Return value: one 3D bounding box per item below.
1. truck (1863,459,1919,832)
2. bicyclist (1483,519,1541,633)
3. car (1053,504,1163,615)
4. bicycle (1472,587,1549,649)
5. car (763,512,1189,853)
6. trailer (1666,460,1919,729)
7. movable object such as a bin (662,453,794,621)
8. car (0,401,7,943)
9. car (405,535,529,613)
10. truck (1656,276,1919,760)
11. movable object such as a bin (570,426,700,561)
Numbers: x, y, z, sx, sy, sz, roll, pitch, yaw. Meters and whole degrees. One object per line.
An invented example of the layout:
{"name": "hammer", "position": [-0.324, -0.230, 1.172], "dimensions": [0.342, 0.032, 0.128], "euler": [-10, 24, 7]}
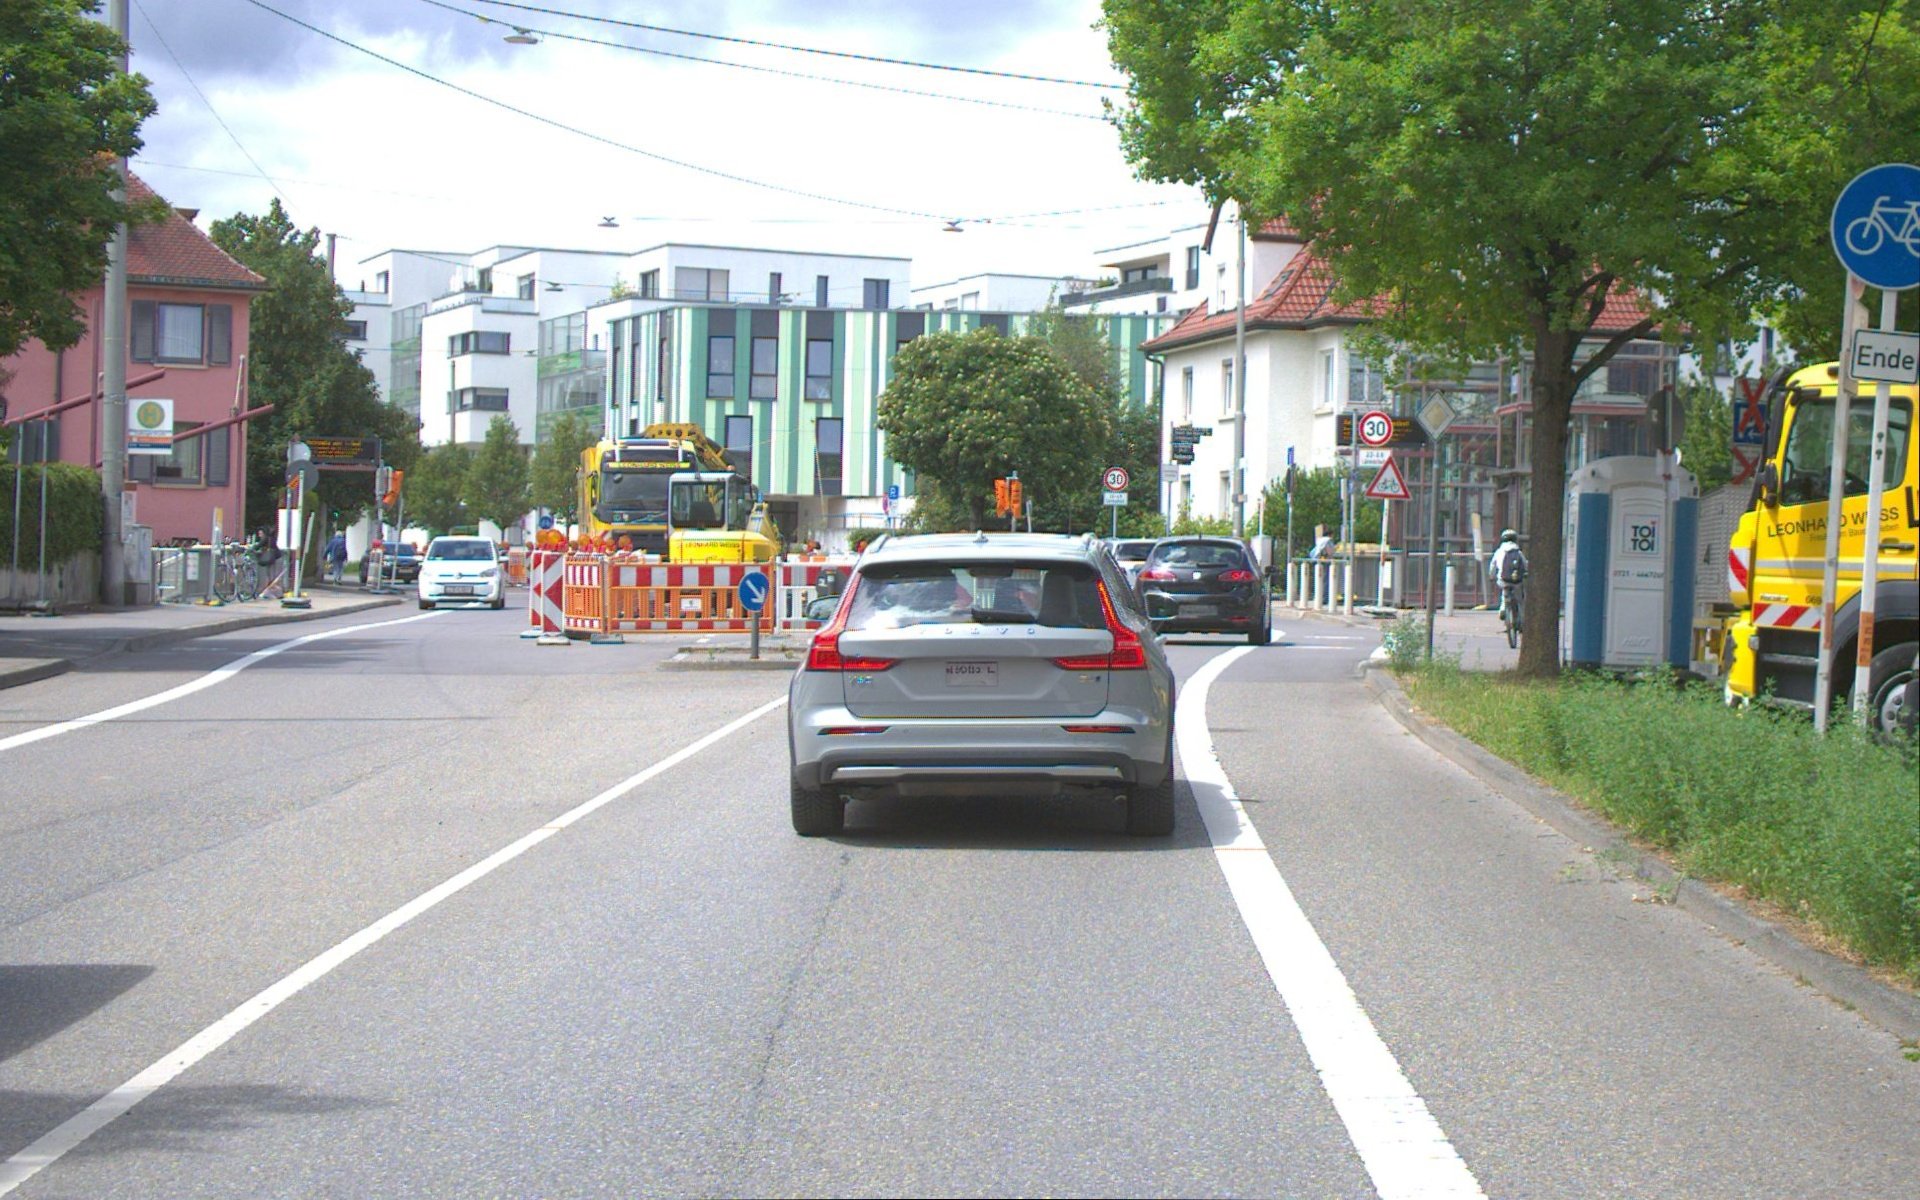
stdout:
{"name": "truck", "position": [7.754, 0.414, 17.573], "dimensions": [5.673, 2.007, 1.995], "euler": [4, 0, 42]}
{"name": "bicyclist", "position": [7.759, -0.330, 48.338], "dimensions": [0.589, 1.553, 0.567], "euler": [4, 0, -6]}
{"name": "car", "position": [3.013, -0.786, 69.393], "dimensions": [1.994, 2.007, 3.999], "euler": [4, 0, 4]}
{"name": "bicycle", "position": [7.726, 0.247, 48.317], "dimensions": [0.594, 0.809, 1.754], "euler": [4, 0, -6]}
{"name": "car", "position": [0.163, 0.334, 17.675], "dimensions": [1.928, 1.535, 4.000], "euler": [1, 1, 3]}
{"name": "trailer", "position": [7.680, -0.045, 29.109], "dimensions": [2.389, 2.025, 5.512], "euler": [2, 1, 2]}
{"name": "movable object such as a bin", "position": [-3.872, -1.070, 57.734], "dimensions": [2.034, 2.634, 5.941], "euler": [1, 1, -3]}
{"name": "car", "position": [-4.168, 0.287, 9.577], "dimensions": [1.848, 1.869, 4.594], "euler": [1, 1, -2]}
{"name": "car", "position": [-9.990, -0.513, 69.978], "dimensions": [1.888, 1.503, 4.000], "euler": [-1, 0, 1]}
{"name": "truck", "position": [8.082, -0.370, 21.325], "dimensions": [6.701, 2.998, 2.763], "euler": [4, 0, 39]}
{"name": "movable object such as a bin", "position": [-7.642, -2.457, 80.219], "dimensions": [2.310, 2.980, 6.429], "euler": [1, 1, -11]}
